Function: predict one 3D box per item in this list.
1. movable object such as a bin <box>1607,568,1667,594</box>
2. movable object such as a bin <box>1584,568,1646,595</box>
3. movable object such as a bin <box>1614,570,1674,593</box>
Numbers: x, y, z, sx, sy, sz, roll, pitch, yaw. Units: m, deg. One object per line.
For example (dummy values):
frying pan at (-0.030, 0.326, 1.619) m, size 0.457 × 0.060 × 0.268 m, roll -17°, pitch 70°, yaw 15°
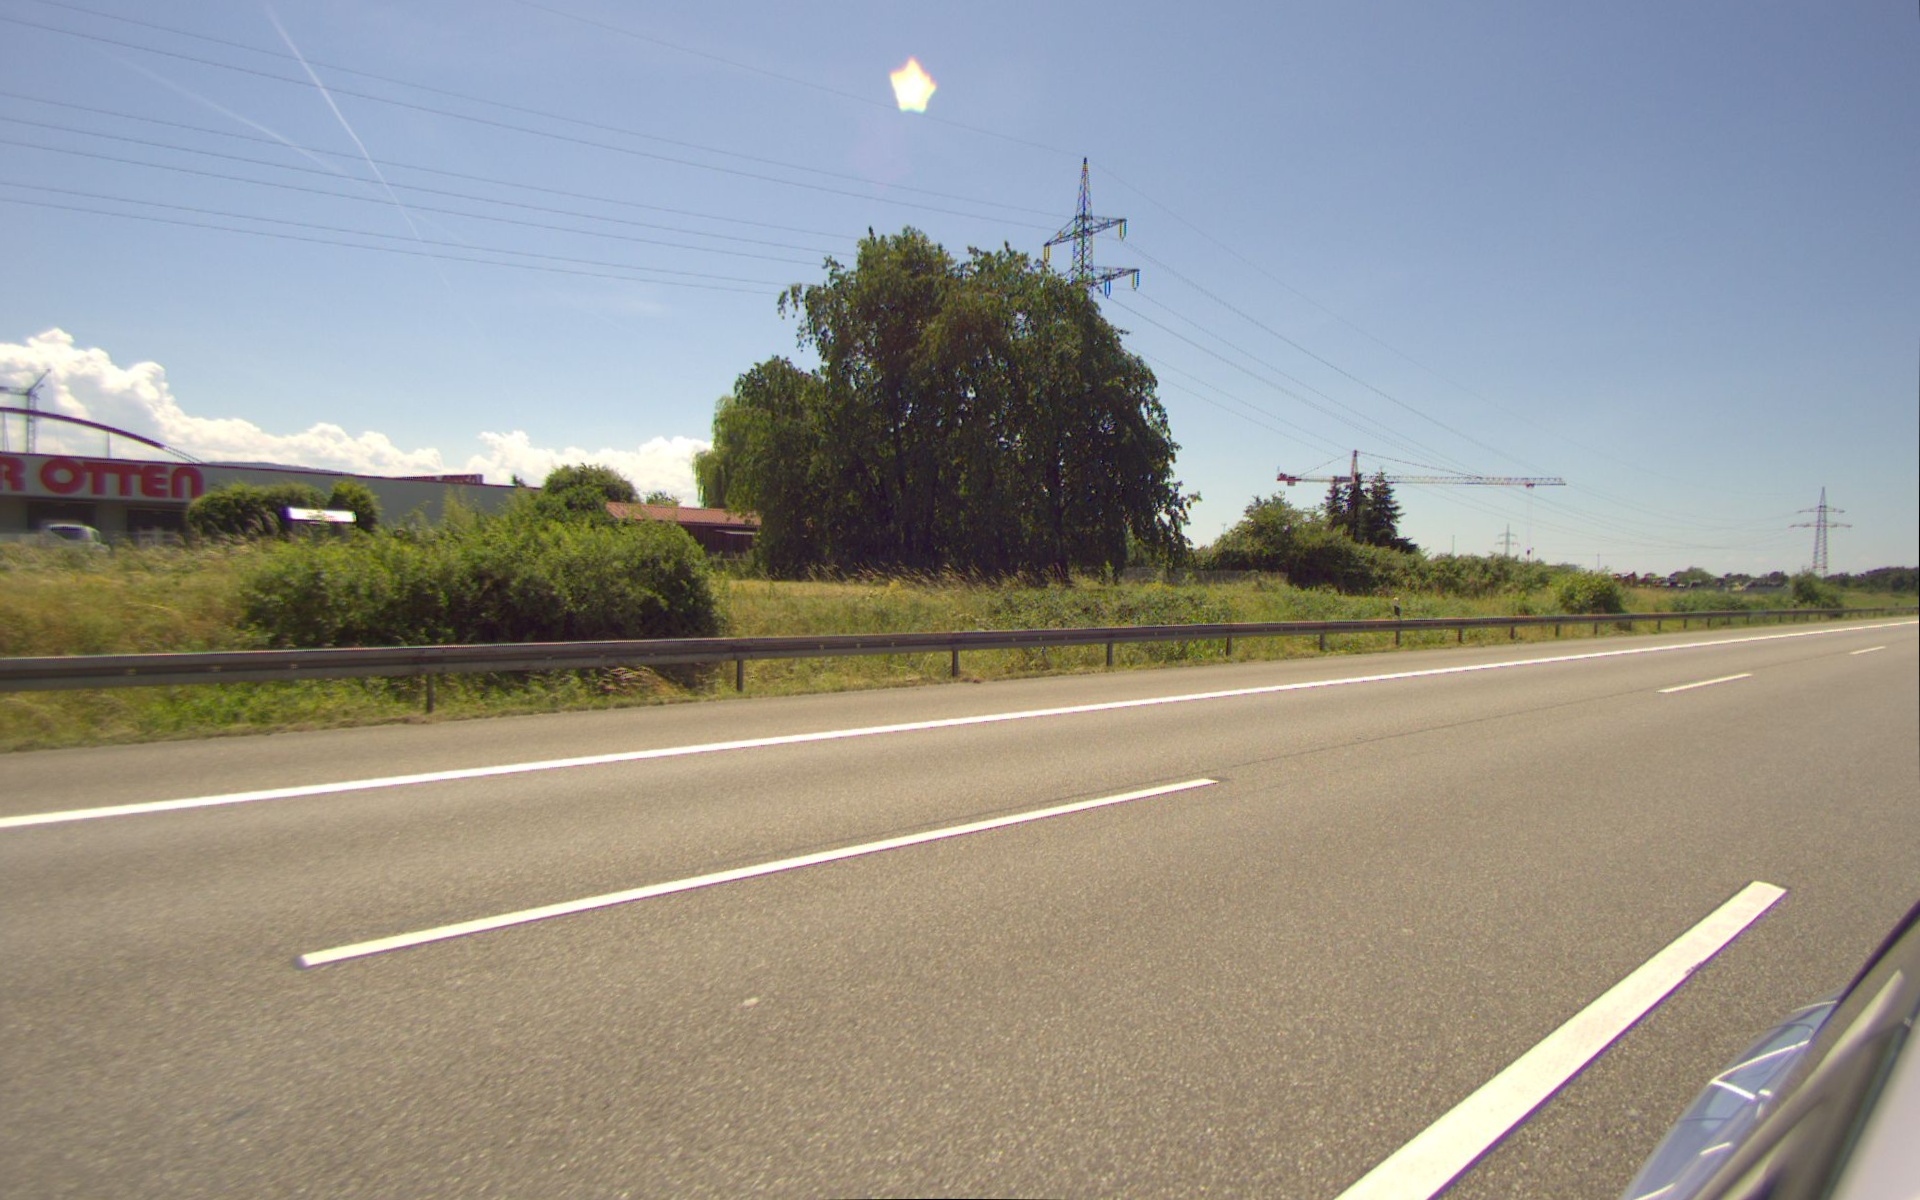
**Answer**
movable object such as a bin at (117.115, -3.320, 175.209) m, size 3.240 × 4.351 × 8.111 m, roll 0°, pitch 0°, yaw -39°
movable object such as a bin at (108.298, -3.068, 167.451) m, size 2.829 × 4.351 × 8.111 m, roll 0°, pitch 0°, yaw -39°
movable object such as a bin at (120.116, -3.186, 177.858) m, size 3.081 × 4.001 × 8.111 m, roll 0°, pitch 0°, yaw -39°
